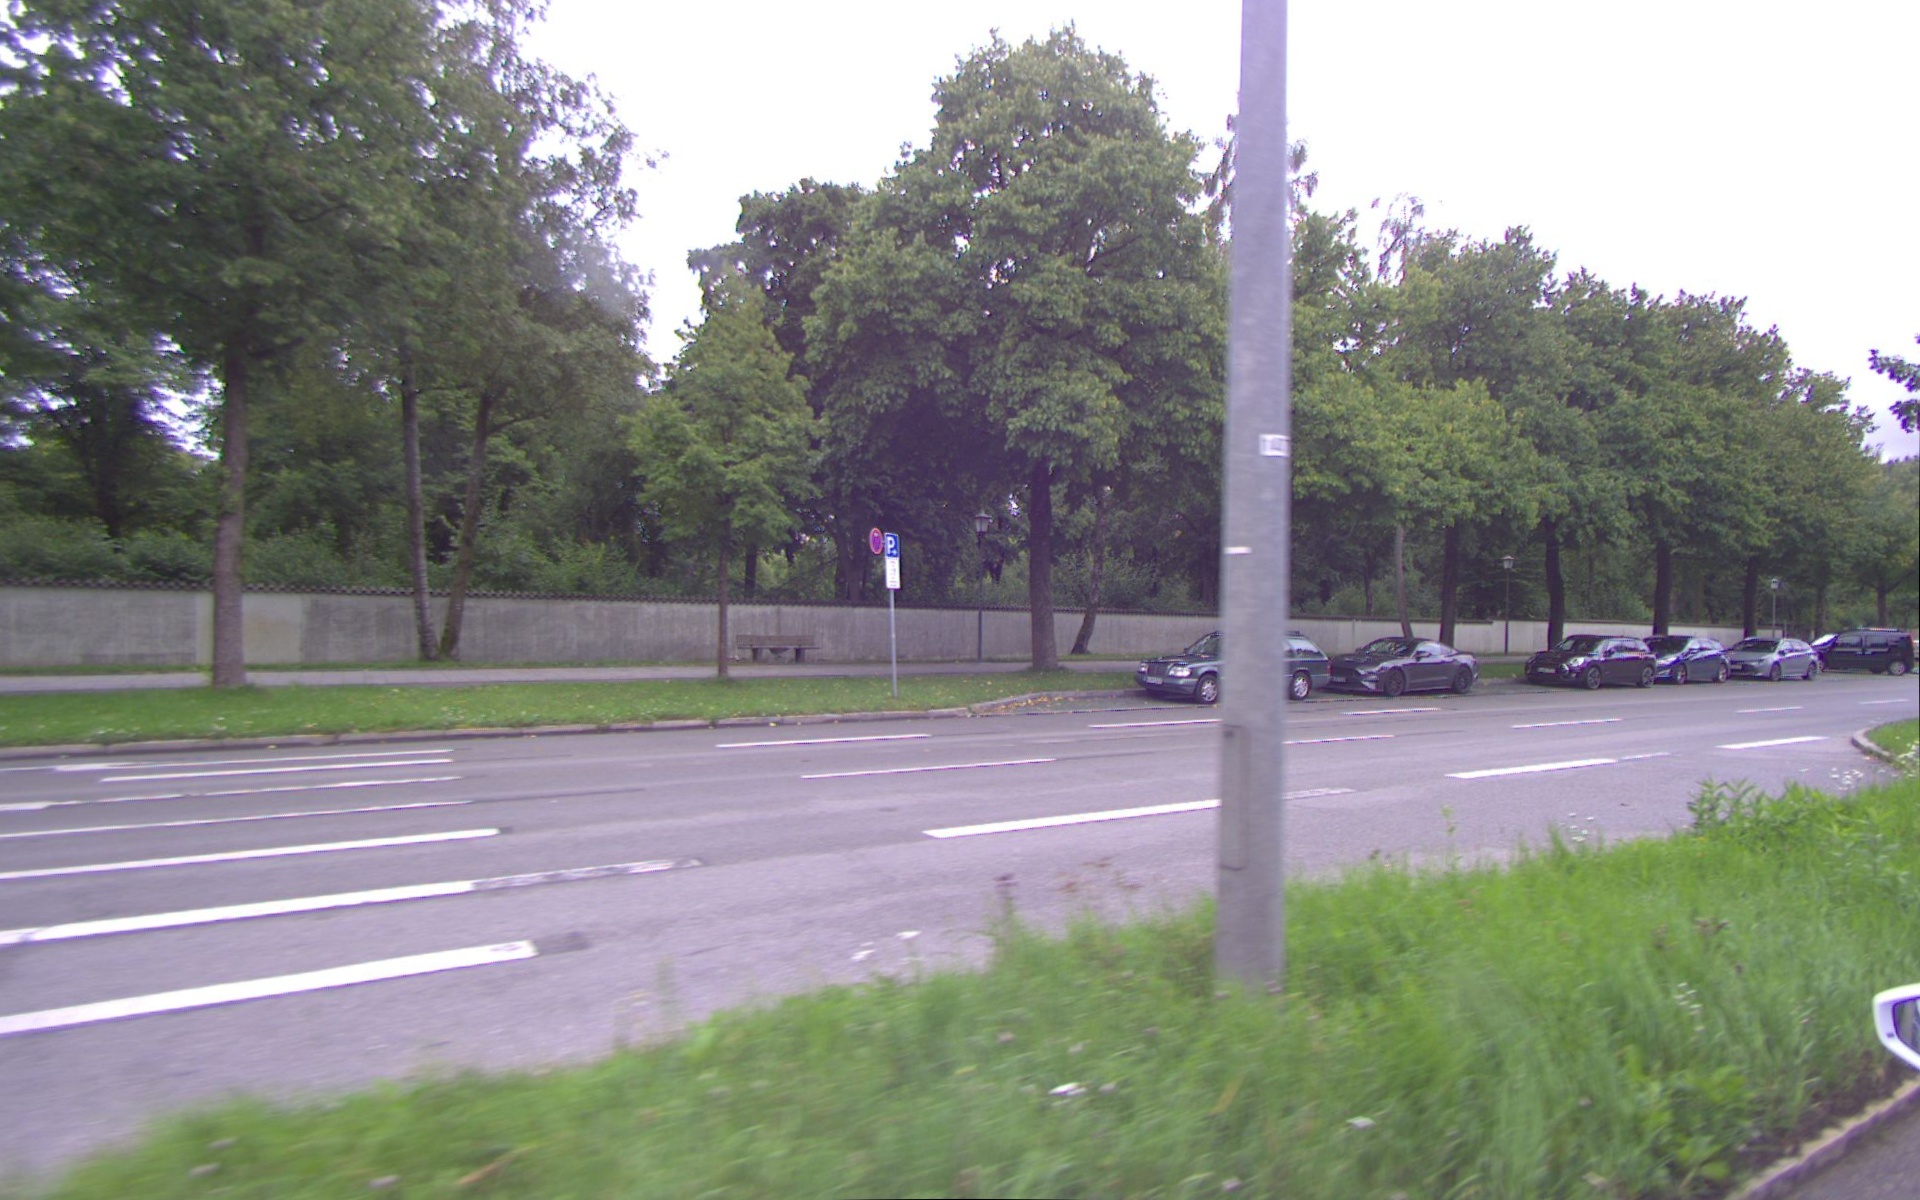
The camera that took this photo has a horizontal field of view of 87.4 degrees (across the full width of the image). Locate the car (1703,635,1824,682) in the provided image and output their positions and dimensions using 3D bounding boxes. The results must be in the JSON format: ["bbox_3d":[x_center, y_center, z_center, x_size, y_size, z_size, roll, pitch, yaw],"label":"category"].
[{"bbox_3d":[28.133,2.013,35.127,4.750,1.458,1.628,1,0,-29],"label":"car"}]

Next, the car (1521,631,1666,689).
[{"bbox_3d":[18.318,1.712,29.031,4.247,1.523,1.565,1,0,-27],"label":"car"}]

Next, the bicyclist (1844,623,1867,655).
[{"bbox_3d":[50.020,2.164,56.104,0.912,1.770,0.701,1,-1,-30],"label":"bicyclist"}]

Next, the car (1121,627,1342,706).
[{"bbox_3d":[6.015,1.394,22.073,4.858,1.510,1.790,1,0,-31],"label":"car"}]

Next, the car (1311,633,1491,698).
[{"bbox_3d":[10.959,1.568,24.871,4.652,1.414,1.651,1,0,-31],"label":"car"}]

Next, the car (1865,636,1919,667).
[{"bbox_3d":[45.472,2.448,47.257,3.967,1.400,1.674,1,-1,25],"label":"car"}]

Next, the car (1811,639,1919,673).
[{"bbox_3d":[39.683,2.425,43.897,3.517,1.372,1.750,0,-1,30],"label":"car"}]

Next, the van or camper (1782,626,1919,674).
[{"bbox_3d":[37.332,2.052,42.129,4.044,1.879,1.850,1,-1,20],"label":"van or camper"}]

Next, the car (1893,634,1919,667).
[{"bbox_3d":[49.820,2.577,50.367,4.027,1.618,1.919,0,-1,21],"label":"car"}]

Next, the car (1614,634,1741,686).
[{"bbox_3d":[22.884,1.863,31.984,4.745,1.478,1.578,1,0,-32],"label":"car"}]

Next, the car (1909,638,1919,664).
[{"bbox_3d":[52.388,2.717,52.181,4.124,1.340,1.917,0,-1,27],"label":"car"}]

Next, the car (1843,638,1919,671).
[{"bbox_3d":[42.875,2.478,45.503,3.925,1.372,1.849,0,-1,26],"label":"car"}]
